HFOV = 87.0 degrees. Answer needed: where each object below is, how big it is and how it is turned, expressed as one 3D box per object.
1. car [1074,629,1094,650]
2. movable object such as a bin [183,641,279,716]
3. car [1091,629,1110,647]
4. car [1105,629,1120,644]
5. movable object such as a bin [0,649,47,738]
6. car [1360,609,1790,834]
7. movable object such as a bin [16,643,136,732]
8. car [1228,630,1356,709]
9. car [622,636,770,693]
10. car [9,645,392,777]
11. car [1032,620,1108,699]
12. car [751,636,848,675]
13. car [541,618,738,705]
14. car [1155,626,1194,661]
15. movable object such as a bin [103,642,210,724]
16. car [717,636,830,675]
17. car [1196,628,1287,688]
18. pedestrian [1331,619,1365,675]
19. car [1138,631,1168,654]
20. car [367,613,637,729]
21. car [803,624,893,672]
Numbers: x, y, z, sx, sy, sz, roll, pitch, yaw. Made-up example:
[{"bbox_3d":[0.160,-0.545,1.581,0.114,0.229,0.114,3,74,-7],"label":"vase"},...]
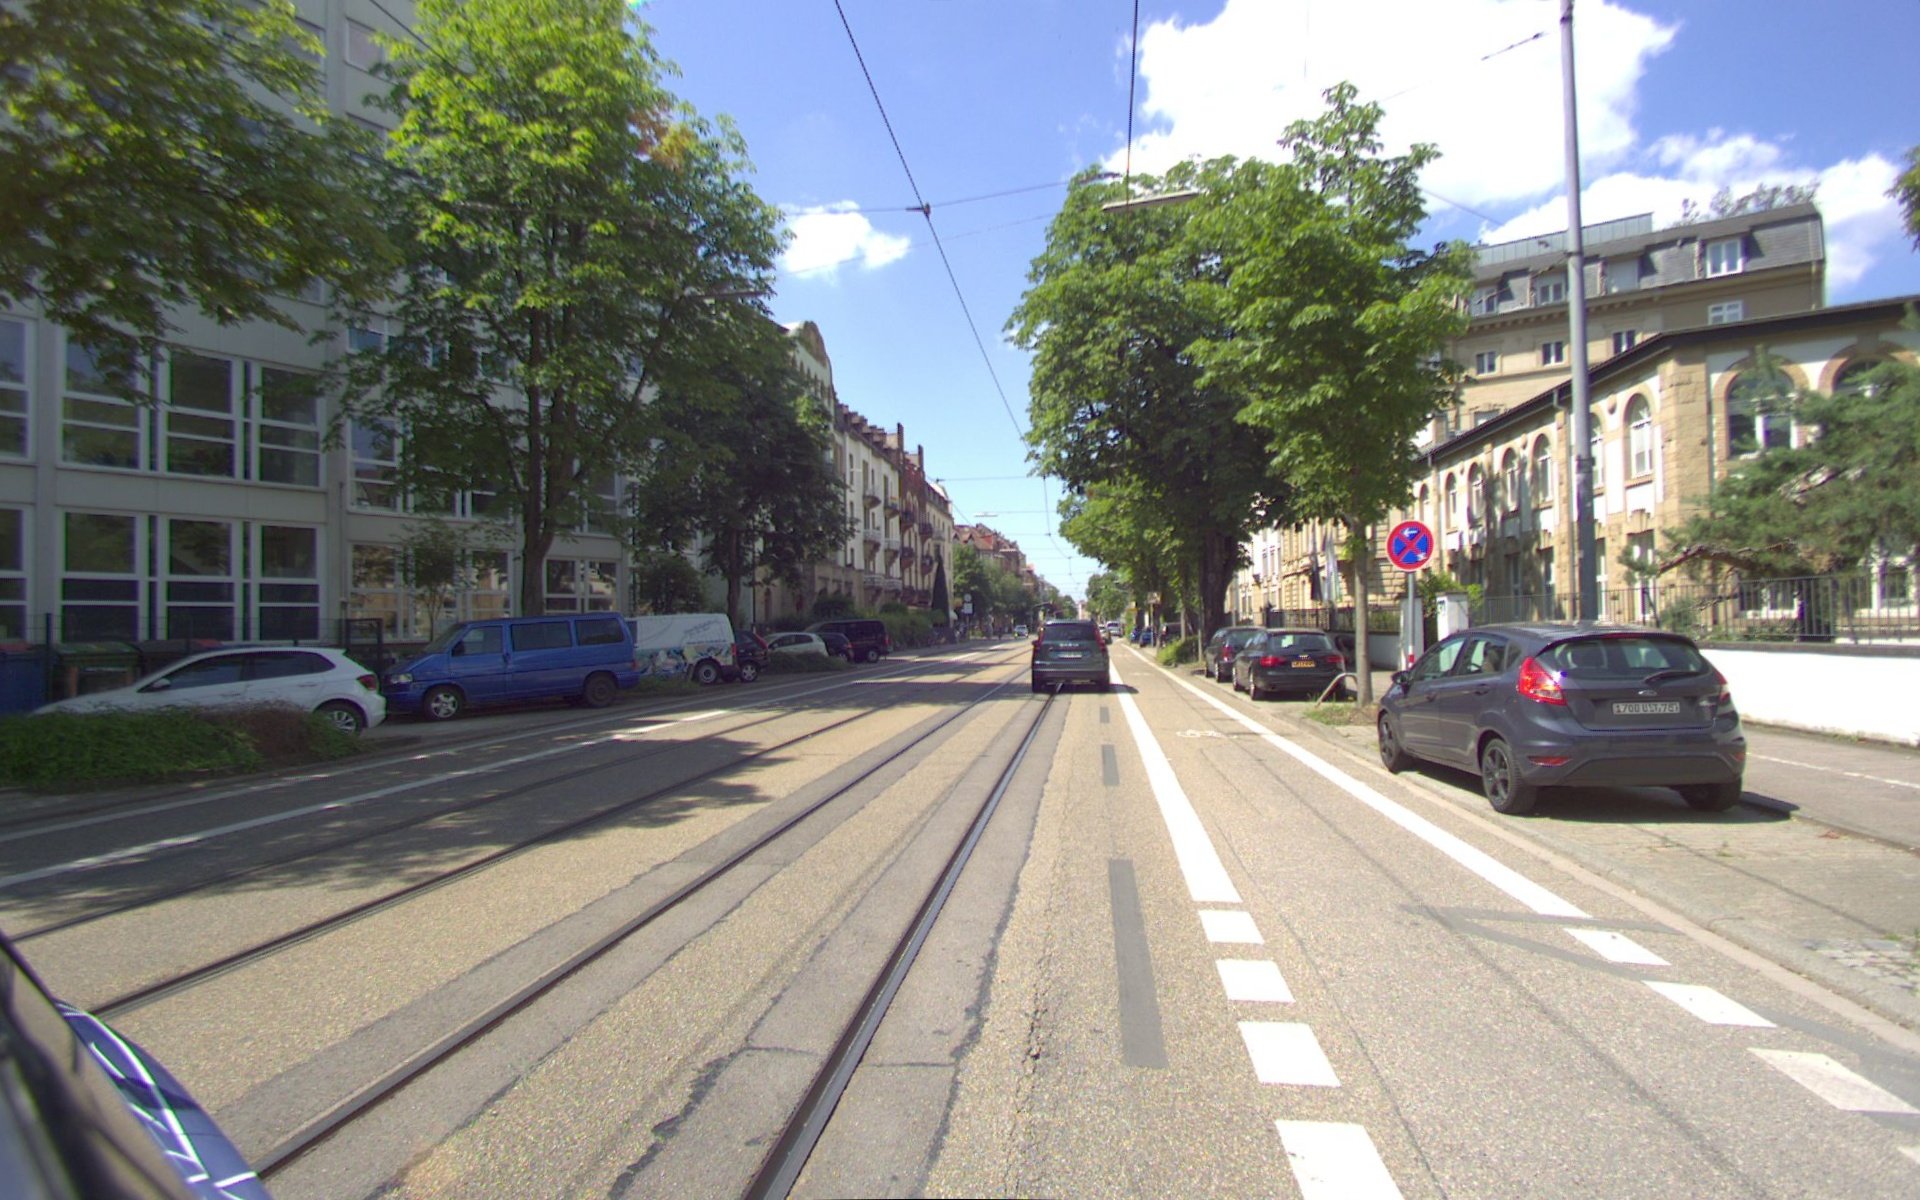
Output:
[{"bbox_3d":[11.020,3.505,89.646,1.659,1.732,3.989,-2,-2,8],"label":"car"},{"bbox_3d":[-14.437,1.545,20.065,1.028,1.409,1.176,-3,-2,16],"label":"movable object such as a bin"},{"bbox_3d":[13.889,3.721,100.182,1.744,1.732,3.989,-2,-2,8],"label":"car"},{"bbox_3d":[18.825,4.543,125.287,1.744,1.732,3.989,-2,-2,8],"label":"car"},{"bbox_3d":[-15.071,1.453,15.643,0.960,1.340,1.074,-2,-2,9],"label":"movable object such as a bin"},{"bbox_3d":[4.980,0.914,8.875,1.568,1.468,3.721,-4,-2,4],"label":"car"},{"bbox_3d":[-14.982,1.467,17.177,1.028,1.409,1.176,-3,-2,16],"label":"movable object such as a bin"},{"bbox_3d":[6.754,1.365,21.030,1.863,1.429,4.138,-2,-2,10],"label":"car"},{"bbox_3d":[-7.764,1.866,29.754,3.931,1.497,1.676,0,-2,-26],"label":"car"},{"bbox_3d":[-10.004,1.377,13.606,3.917,1.424,1.718,0,-3,-39],"label":"car"},{"bbox_3d":[2.566,1.341,23.386,1.587,1.664,3.990,-1,-2,7],"label":"car"},{"bbox_3d":[-6.847,2.362,43.196,3.936,1.519,1.952,-1,-2,-9],"label":"car"},{"bbox_3d":[-8.306,1.543,26.290,4.551,2.029,2.006,0,-2,-30],"label":"car"},{"bbox_3d":[10.521,2.100,49.501,1.713,1.626,3.982,-2,-2,14],"label":"car"},{"bbox_3d":[-14.722,1.504,18.566,1.028,1.409,1.176,-3,-2,16],"label":"movable object such as a bin"},{"bbox_3d":[-7.230,2.169,39.345,3.936,1.397,1.754,3,-3,-39],"label":"car"},{"bbox_3d":[7.539,1.526,27.466,1.931,1.455,3.761,-2,-2,10],"label":"car"},{"bbox_3d":[11.232,1.350,29.330,0.689,1.579,0.743,-2,-2,6],"label":"pedestrian"},{"bbox_3d":[13.066,2.852,68.350,1.794,1.490,3.982,-2,-2,14],"label":"car"},{"bbox_3d":[-9.060,1.315,20.184,4.556,2.029,2.004,0,-3,-38],"label":"car"},{"bbox_3d":[-5.149,2.178,46.273,3.936,2.029,2.004,-1,-2,-9],"label":"car"}]
